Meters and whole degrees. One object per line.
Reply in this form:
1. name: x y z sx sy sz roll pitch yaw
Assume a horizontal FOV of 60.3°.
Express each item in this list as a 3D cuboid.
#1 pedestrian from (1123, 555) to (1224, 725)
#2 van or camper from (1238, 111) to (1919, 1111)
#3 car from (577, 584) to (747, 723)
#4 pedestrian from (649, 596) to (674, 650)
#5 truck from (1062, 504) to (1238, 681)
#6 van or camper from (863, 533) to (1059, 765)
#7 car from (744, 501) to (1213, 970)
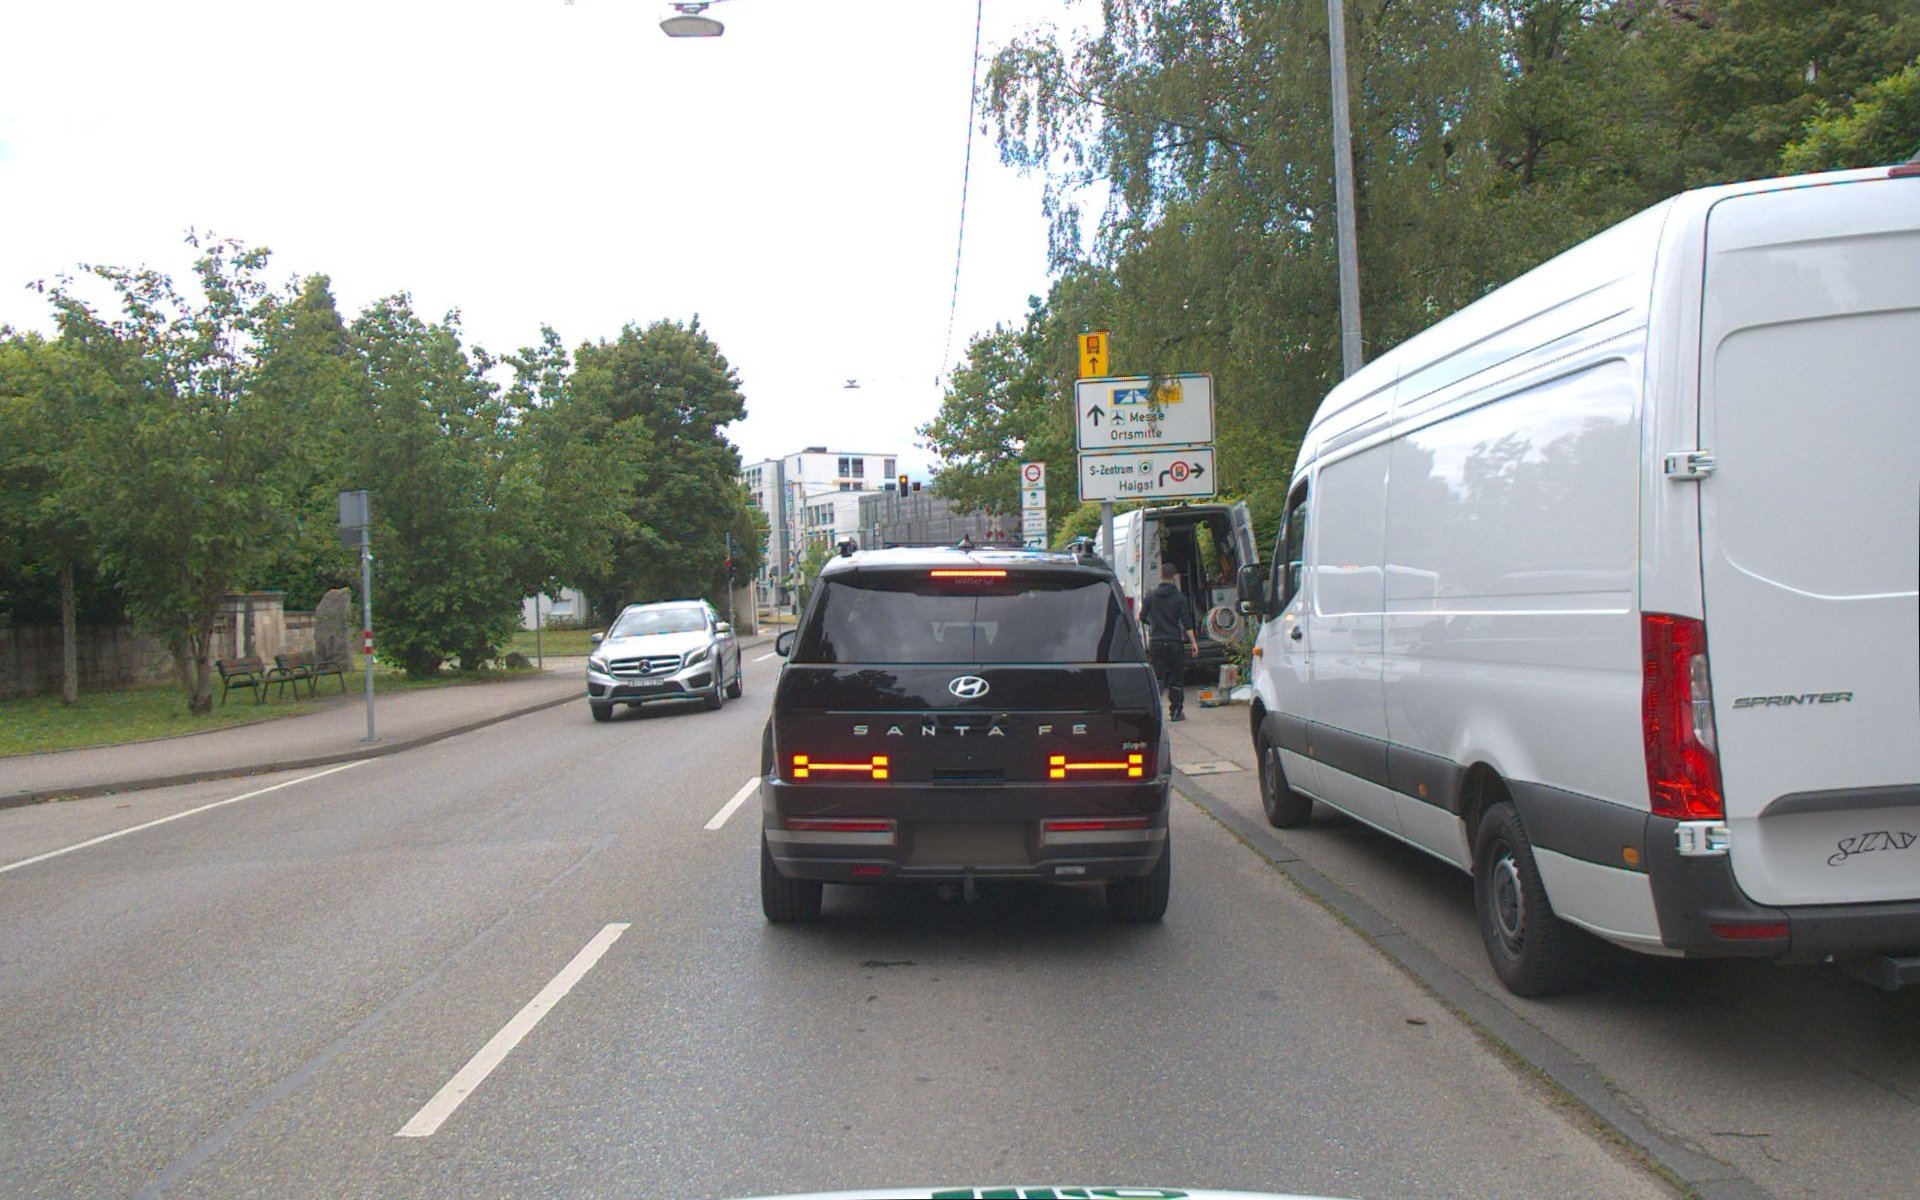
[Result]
1. pedestrian: 2.372 0.429 18.351 0.745 1.828 0.869 -2 0 38
2. van or camper: 2.905 -0.003 7.726 1.953 2.665 6.540 -2 0 -1
3. car: -4.174 0.696 23.763 1.749 1.682 4.118 -4 0 -2
4. pedestrian: -9.865 0.746 54.623 0.724 1.745 0.791 -2 0 -8
5. truck: 3.077 -0.107 27.953 1.904 2.606 5.212 -3 0 -4
6. van or camper: -0.017 0.440 17.030 1.719 2.049 3.999 -2 0 -1
7. car: 0.046 0.528 8.552 1.851 1.851 3.999 0 0 -1
